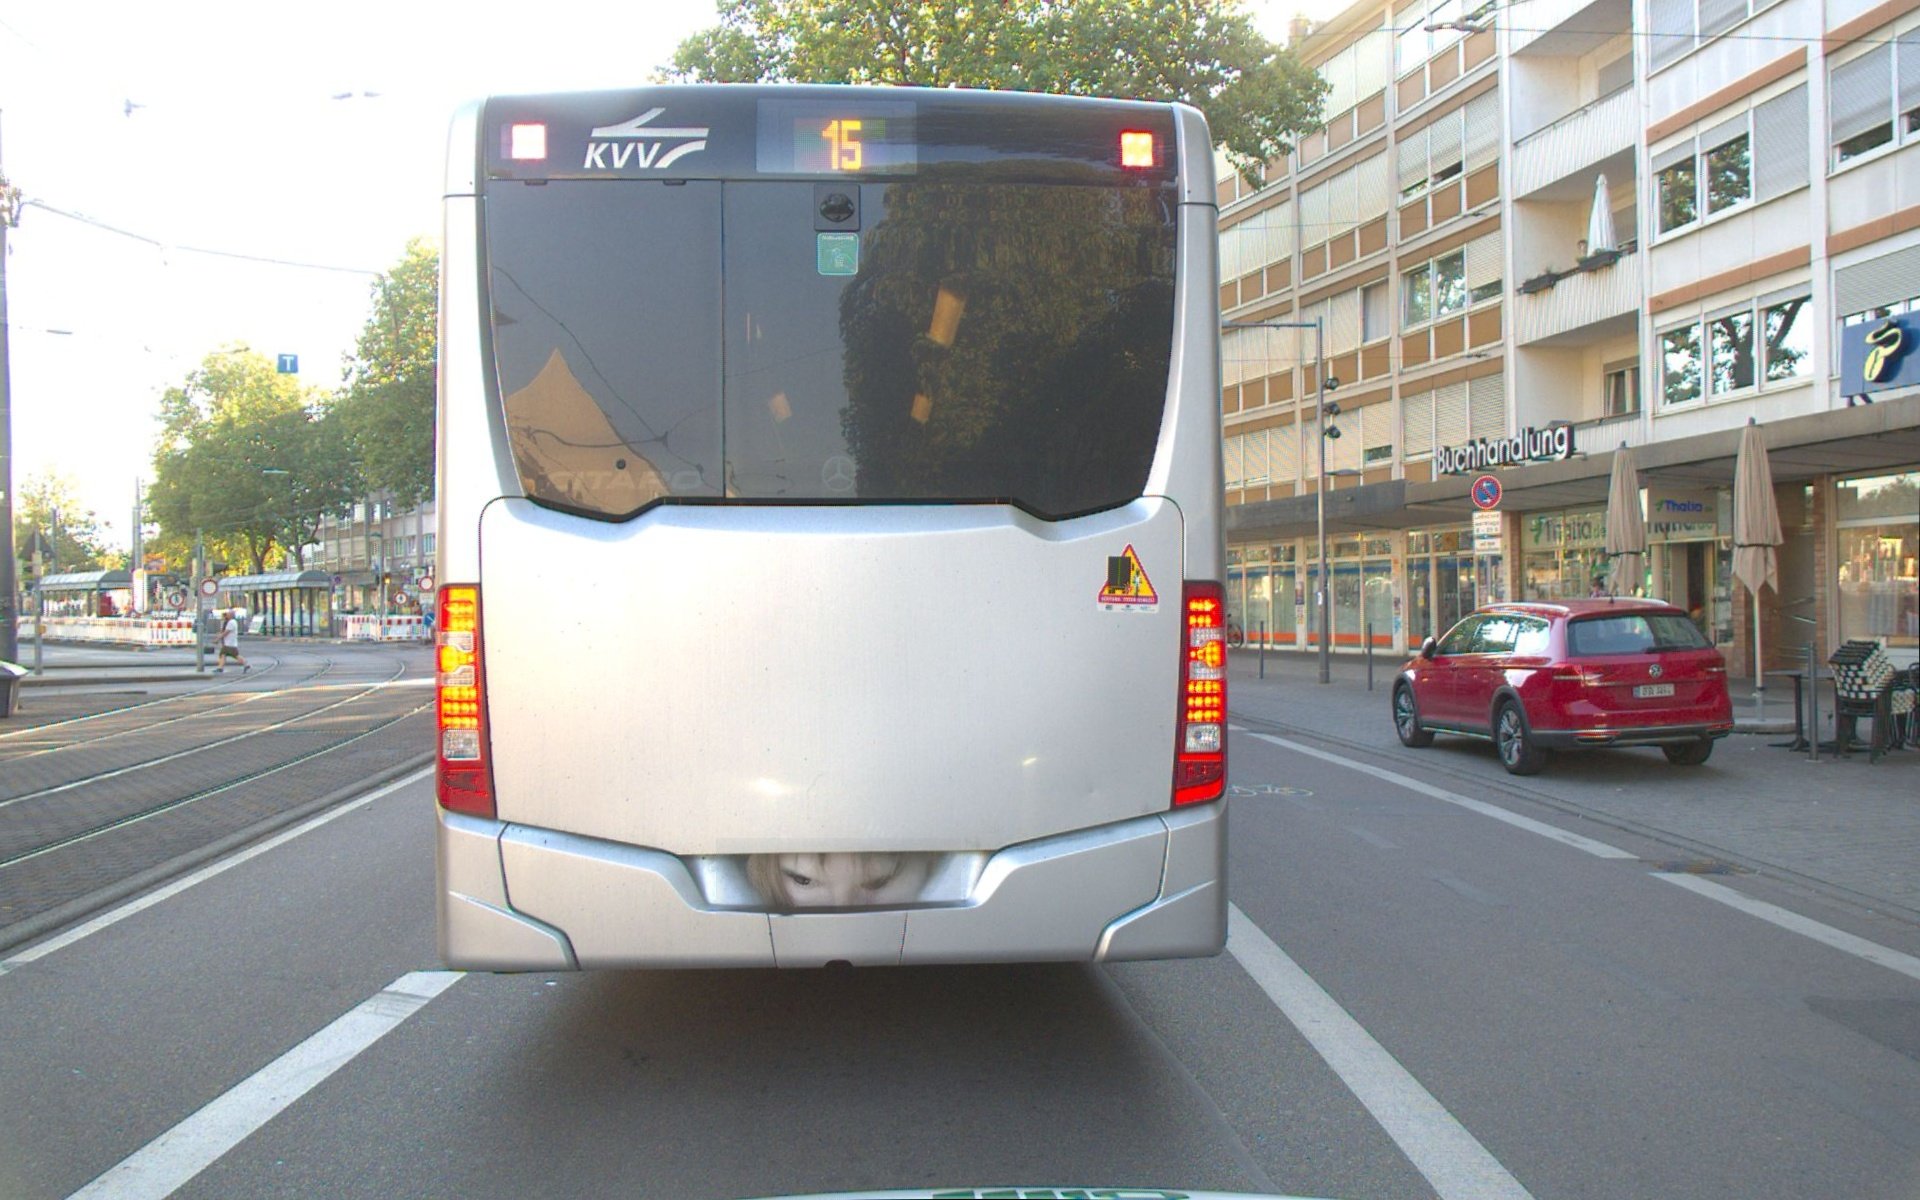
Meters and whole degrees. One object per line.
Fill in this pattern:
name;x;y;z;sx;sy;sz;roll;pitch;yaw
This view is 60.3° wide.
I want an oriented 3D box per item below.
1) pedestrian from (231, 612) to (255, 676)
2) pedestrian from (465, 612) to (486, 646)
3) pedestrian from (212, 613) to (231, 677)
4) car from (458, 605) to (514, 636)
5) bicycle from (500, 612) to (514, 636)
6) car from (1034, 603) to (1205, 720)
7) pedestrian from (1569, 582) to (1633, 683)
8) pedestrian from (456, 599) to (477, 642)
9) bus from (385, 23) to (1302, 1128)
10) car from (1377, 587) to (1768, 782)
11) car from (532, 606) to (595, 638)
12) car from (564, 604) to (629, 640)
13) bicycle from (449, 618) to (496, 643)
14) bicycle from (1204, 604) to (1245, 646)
pedestrian;-17.411;1.063;40.152;0.513;1.530;0.589;-1;0;-23
pedestrian;-19.287;1.161;65.822;0.766;1.326;0.590;-1;0;-22
pedestrian;-18.050;1.097;40.422;0.403;1.530;0.513;-1;0;-26
car;-25.108;1.094;87.636;1.651;1.494;3.365;-5;3;-38
bicycle;-23.166;1.211;84.566;0.500;1.232;2.079;-1;0;-21
car;2.152;0.798;23.352;1.768;1.499;4.068;0;0;-4
pedestrian;10.198;0.508;26.326;0.627;1.579;0.806;-1;0;-8
pedestrian;-20.322;0.842;68.092;0.705;1.755;0.399;-1;0;1
bus;-0.547;-0.062;9.889;2.605;3.153;10.210;-1;0;-3
car;5.687;0.702;16.056;1.744;1.522;4.563;-3;0;-5
car;-19.334;1.070;80.666;1.652;1.419;3.364;-5;3;-39
car;-17.010;1.010;77.385;1.650;1.542;3.367;-5;3;-37
bicycle;-20.209;1.261;68.551;1.802;0.959;0.463;-1;0;1
bicycle;7.276;0.685;45.548;0.431;1.111;1.453;-3;1;-20
